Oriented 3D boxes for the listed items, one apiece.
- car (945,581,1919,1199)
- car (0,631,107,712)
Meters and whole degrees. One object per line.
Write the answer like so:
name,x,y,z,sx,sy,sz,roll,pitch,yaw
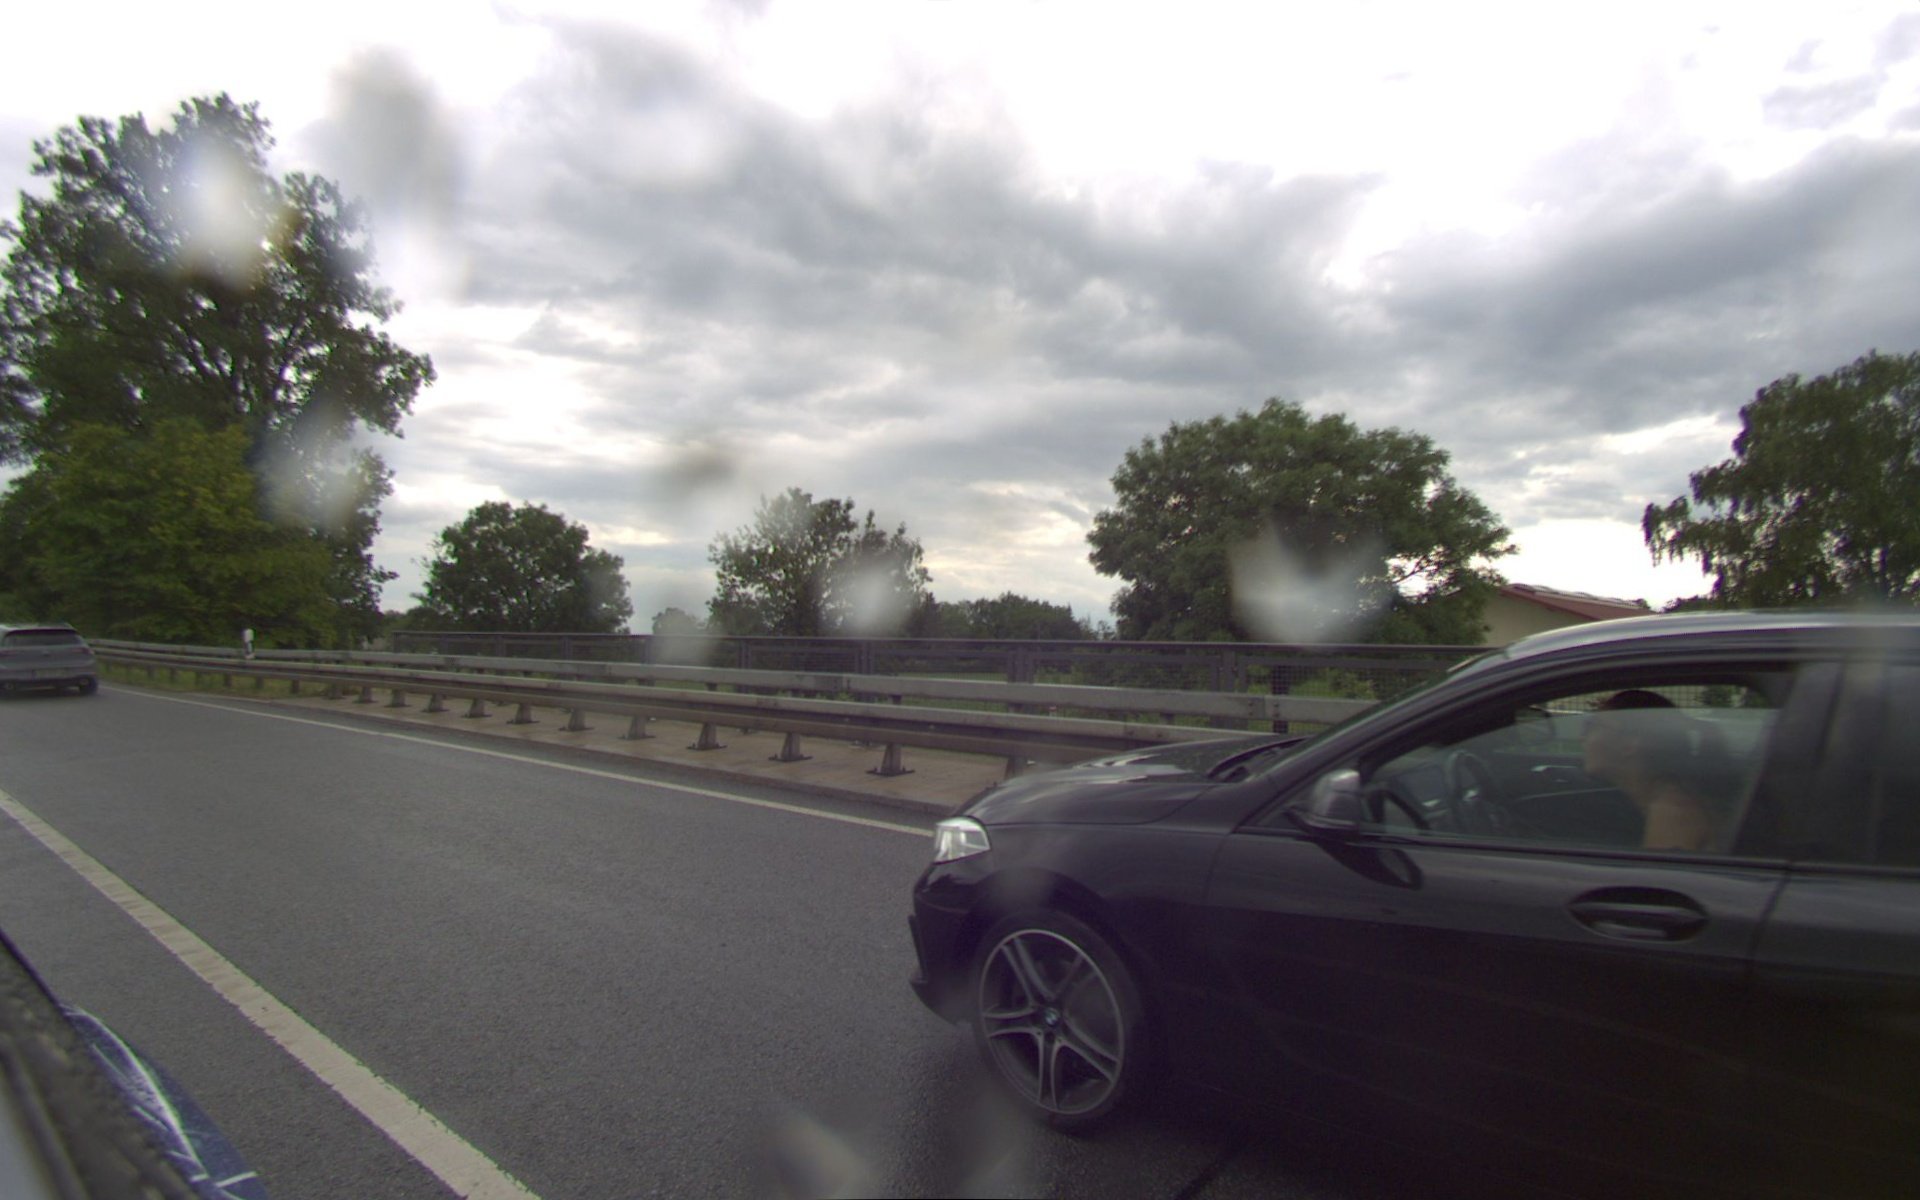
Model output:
car,2.129,0.674,2.188,4.330,1.410,1.679,-1,-1,41
car,-19.073,1.399,20.640,4.098,1.454,1.817,-2,-1,39
